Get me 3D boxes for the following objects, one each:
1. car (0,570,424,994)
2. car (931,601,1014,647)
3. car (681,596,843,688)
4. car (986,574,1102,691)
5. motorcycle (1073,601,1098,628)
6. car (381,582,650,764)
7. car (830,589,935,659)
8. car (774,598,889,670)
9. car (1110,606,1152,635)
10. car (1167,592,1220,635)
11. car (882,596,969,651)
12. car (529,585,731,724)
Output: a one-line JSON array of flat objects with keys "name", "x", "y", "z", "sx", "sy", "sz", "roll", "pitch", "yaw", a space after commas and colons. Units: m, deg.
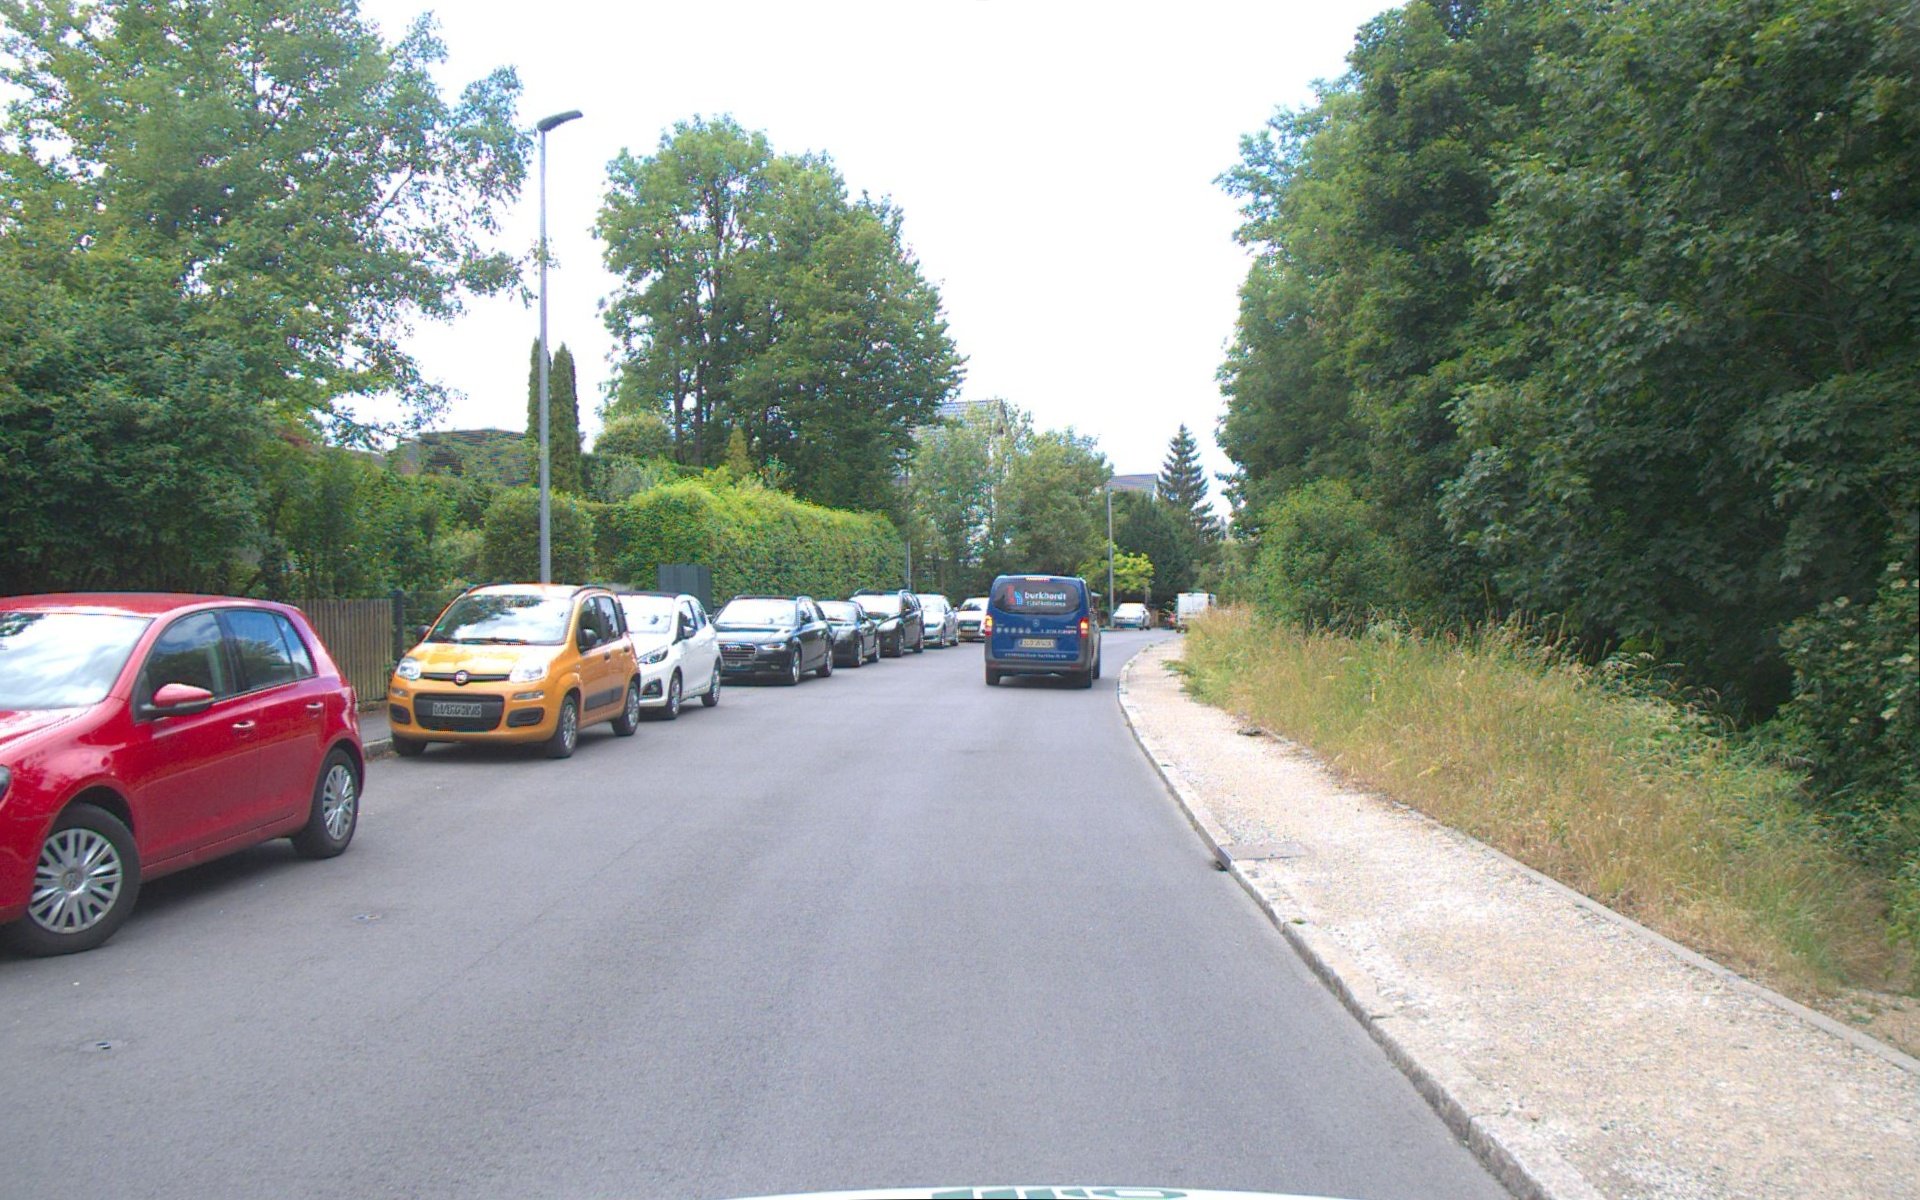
[{"name": "car", "x": -4.257, "y": 0.651, "z": 8.169, "sx": 1.671, "sy": 1.541, "sz": 4.364, "roll": 1, "pitch": 0, "yaw": 2}, {"name": "car", "x": 0.460, "y": 0.747, "z": 53.603, "sx": 1.792, "sy": 1.398, "sz": 4.449, "roll": 1, "pitch": 0, "yaw": 12}, {"name": "car", "x": -3.259, "y": 0.658, "z": 28.080, "sx": 1.682, "sy": 1.409, "sz": 4.666, "roll": 1, "pitch": 0, "yaw": 6}, {"name": "car", "x": 1.559, "y": 0.542, "z": 29.656, "sx": 1.895, "sy": 1.913, "sz": 4.533, "roll": 1, "pitch": 0, "yaw": 4}, {"name": "motorcycle", "x": 7.209, "y": 0.829, "z": 94.574, "sx": 0.792, "sy": 1.511, "sz": 2.897, "roll": 1, "pitch": -1, "yaw": 17}, {"name": "car", "x": -4.153, "y": 0.626, "z": 16.002, "sx": 1.511, "sy": 1.541, "sz": 3.645, "roll": 1, "pitch": 0, "yaw": 2}, {"name": "car", "x": -1.823, "y": 0.562, "z": 40.258, "sx": 1.621, "sy": 1.560, "sz": 4.478, "roll": 1, "pitch": 0, "yaw": 9}, {"name": "car", "x": -2.613, "y": 0.673, "z": 34.569, "sx": 1.675, "sy": 1.364, "sz": 4.110, "roll": 1, "pitch": 0, "yaw": 5}, {"name": "car", "x": 9.419, "y": 1.139, "z": 90.830, "sx": 1.669, "sy": 1.493, "sz": 4.078, "roll": 1, "pitch": -1, "yaw": 15}, {"name": "car", "x": 12.001, "y": 0.704, "z": 84.670, "sx": 2.159, "sy": 2.100, "sz": 6.139, "roll": 0, "pitch": 0, "yaw": 13}, {"name": "car", "x": -0.892, "y": 0.610, "z": 45.705, "sx": 1.737, "sy": 1.398, "sz": 4.344, "roll": 1, "pitch": 0, "yaw": 7}, {"name": "car", "x": -3.968, "y": 0.608, "z": 20.418, "sx": 1.555, "sy": 1.541, "sz": 3.592, "roll": 1, "pitch": 0, "yaw": 4}]
